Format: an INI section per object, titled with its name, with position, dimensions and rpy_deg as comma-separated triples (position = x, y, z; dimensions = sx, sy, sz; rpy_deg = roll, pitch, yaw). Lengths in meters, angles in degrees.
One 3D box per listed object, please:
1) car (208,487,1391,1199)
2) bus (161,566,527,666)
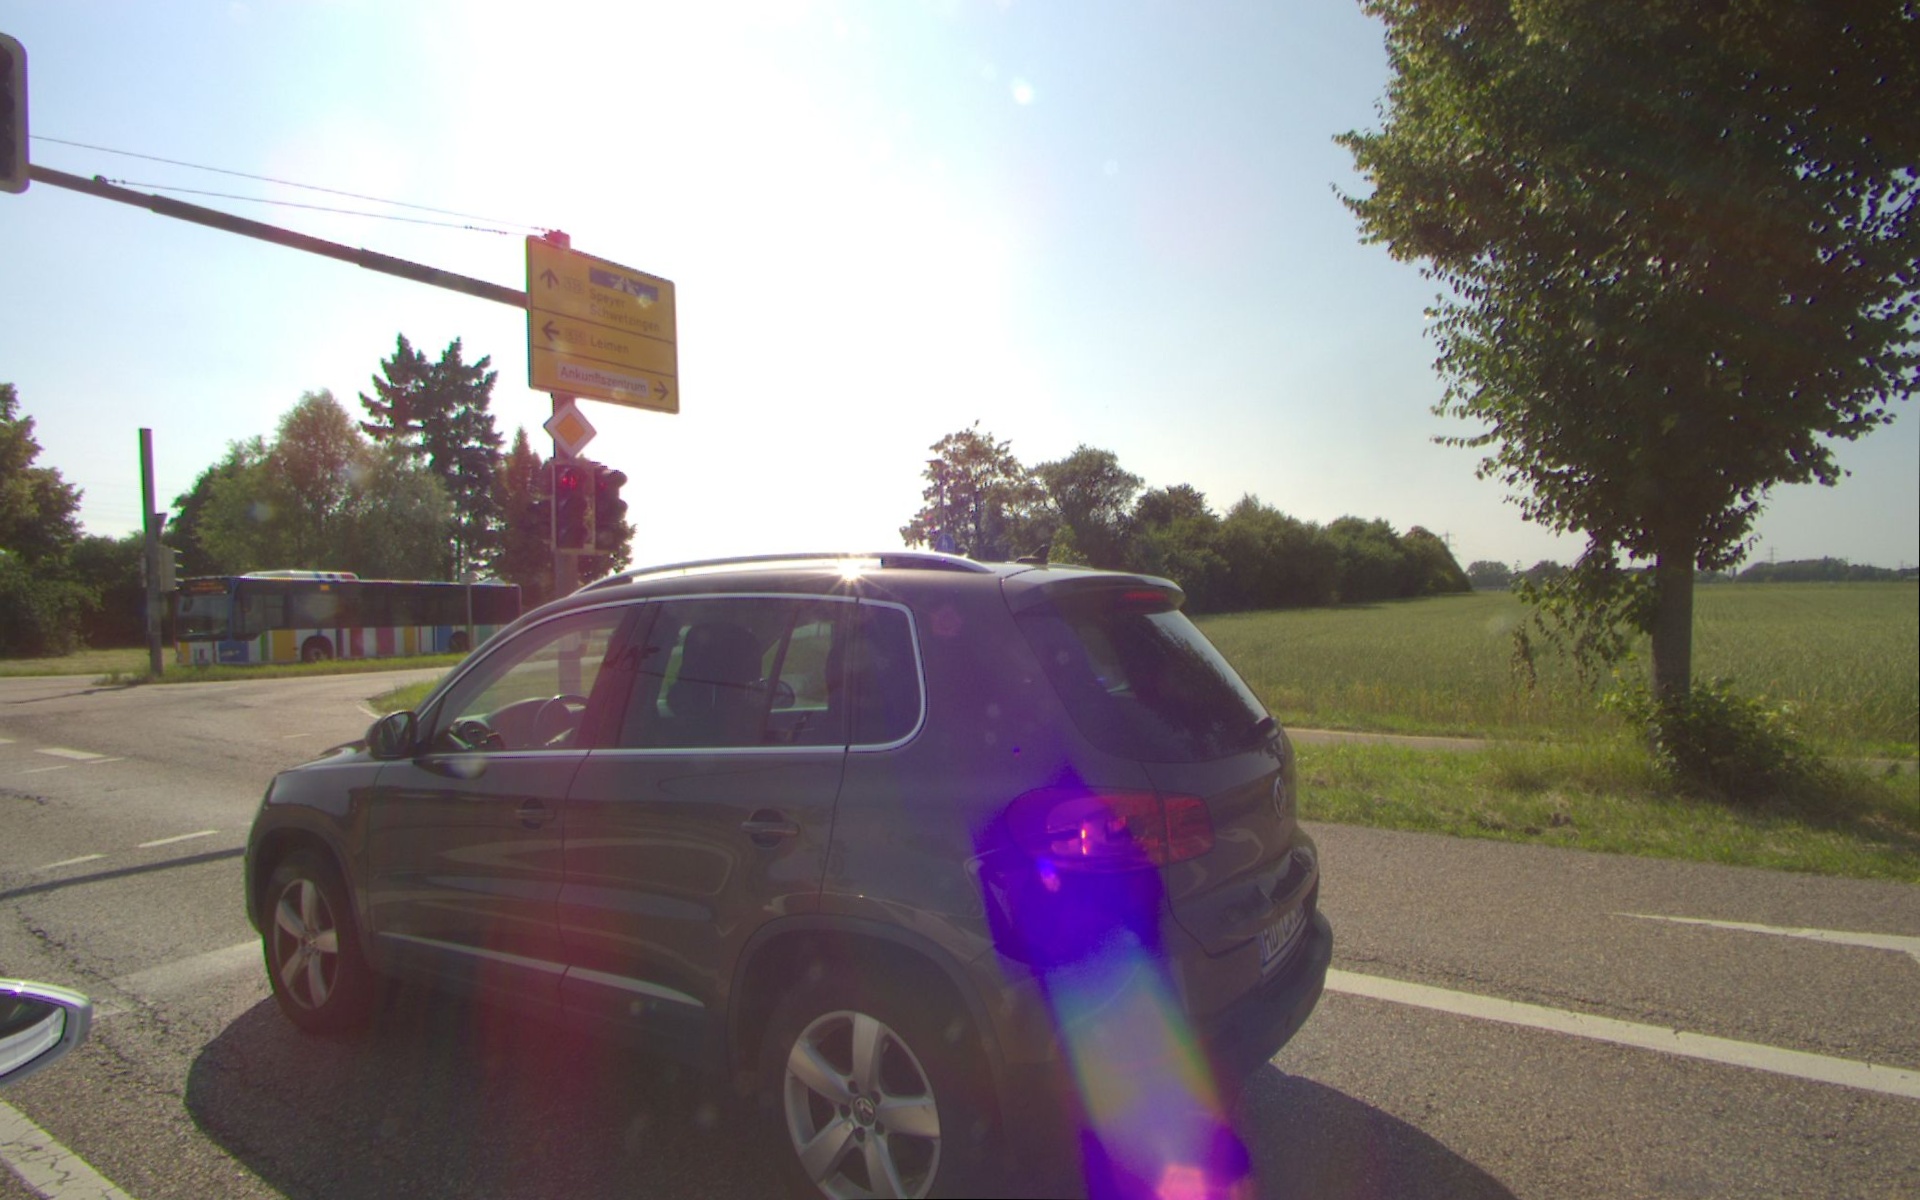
[car]
position = -0.770, 0.690, 3.622
dimensions = 4.086, 1.677, 1.753
rpy_deg = -1, -2, 32
[bus]
position = -20.675, 0.417, 35.177
dimensions = 2.889, 2.916, 11.955
rpy_deg = -1, 0, 17
